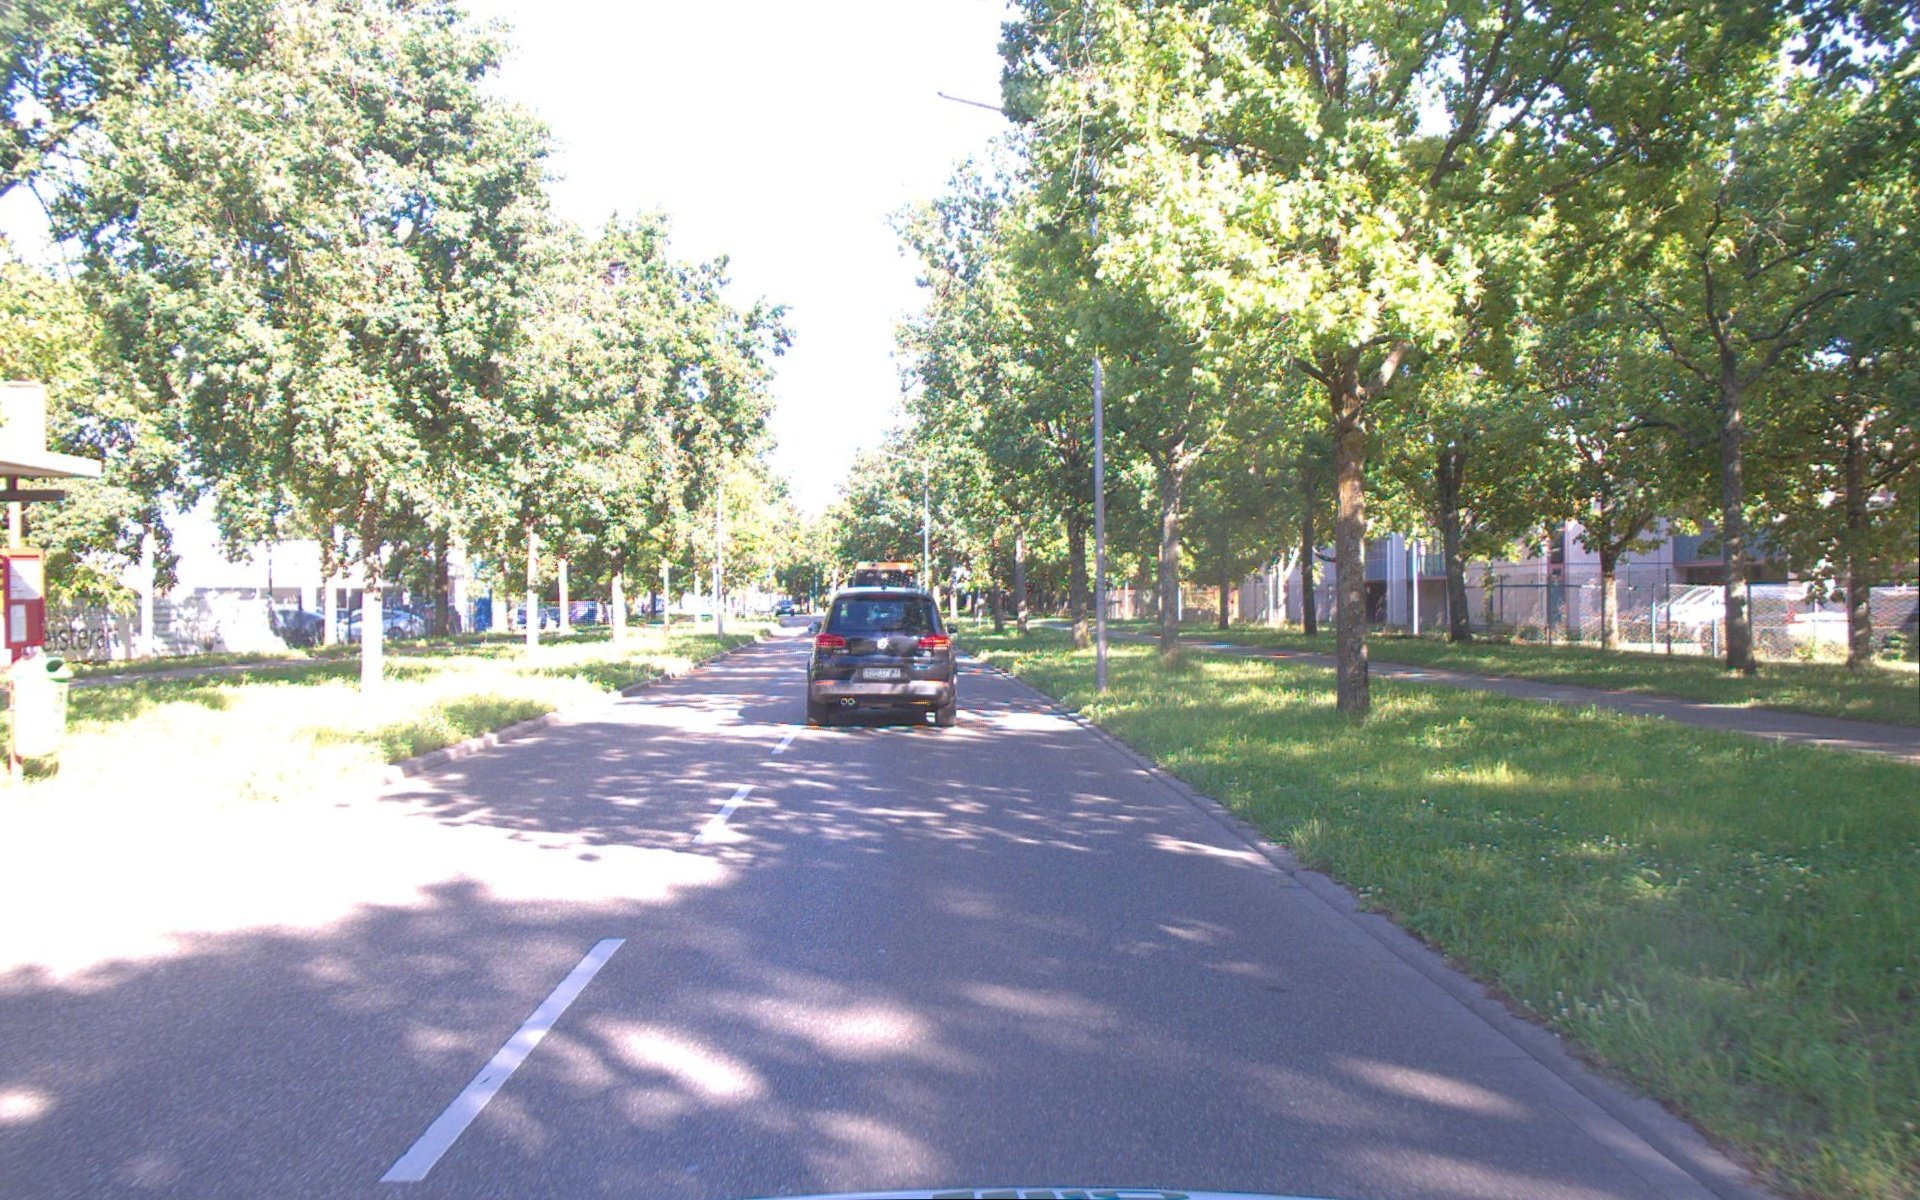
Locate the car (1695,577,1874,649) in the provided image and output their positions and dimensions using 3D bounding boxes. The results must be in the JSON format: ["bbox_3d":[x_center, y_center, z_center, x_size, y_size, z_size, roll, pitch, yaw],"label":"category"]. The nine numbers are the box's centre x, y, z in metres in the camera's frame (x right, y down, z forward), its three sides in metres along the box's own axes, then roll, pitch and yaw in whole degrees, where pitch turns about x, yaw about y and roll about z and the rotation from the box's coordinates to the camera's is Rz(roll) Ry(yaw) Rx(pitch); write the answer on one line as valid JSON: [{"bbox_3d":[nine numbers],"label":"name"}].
[{"bbox_3d":[21.432,0.317,43.234,2.141,1.775,4.638,-1,0,-3],"label":"car"}]

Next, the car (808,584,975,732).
[{"bbox_3d":[-0.859,0.654,21.187,1.897,1.685,4.425,1,0,-2],"label":"car"}]

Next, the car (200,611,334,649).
[{"bbox_3d":[-25.469,1.082,60.872,4.115,1.310,1.940,-1,0,-4],"label":"car"}]

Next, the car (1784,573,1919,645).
[{"bbox_3d":[23.848,0.211,43.197,2.141,1.775,4.638,-1,0,-3],"label":"car"}]

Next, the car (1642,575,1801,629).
[{"bbox_3d":[26.173,0.058,56.913,4.539,1.775,2.187,-1,0,-8],"label":"car"}]

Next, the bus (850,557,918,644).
[{"bbox_3d":[-3.244,-0.009,73.014,2.708,3.517,11.207,-1,0,-1],"label":"bus"}]

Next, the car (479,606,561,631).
[{"bbox_3d":[-25.048,1.051,94.230,4.110,1.344,1.942,-1,0,3],"label":"car"}]

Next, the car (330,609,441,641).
[{"bbox_3d":[-24.861,1.065,71.675,4.115,1.310,1.940,-1,0,-4],"label":"car"}]
